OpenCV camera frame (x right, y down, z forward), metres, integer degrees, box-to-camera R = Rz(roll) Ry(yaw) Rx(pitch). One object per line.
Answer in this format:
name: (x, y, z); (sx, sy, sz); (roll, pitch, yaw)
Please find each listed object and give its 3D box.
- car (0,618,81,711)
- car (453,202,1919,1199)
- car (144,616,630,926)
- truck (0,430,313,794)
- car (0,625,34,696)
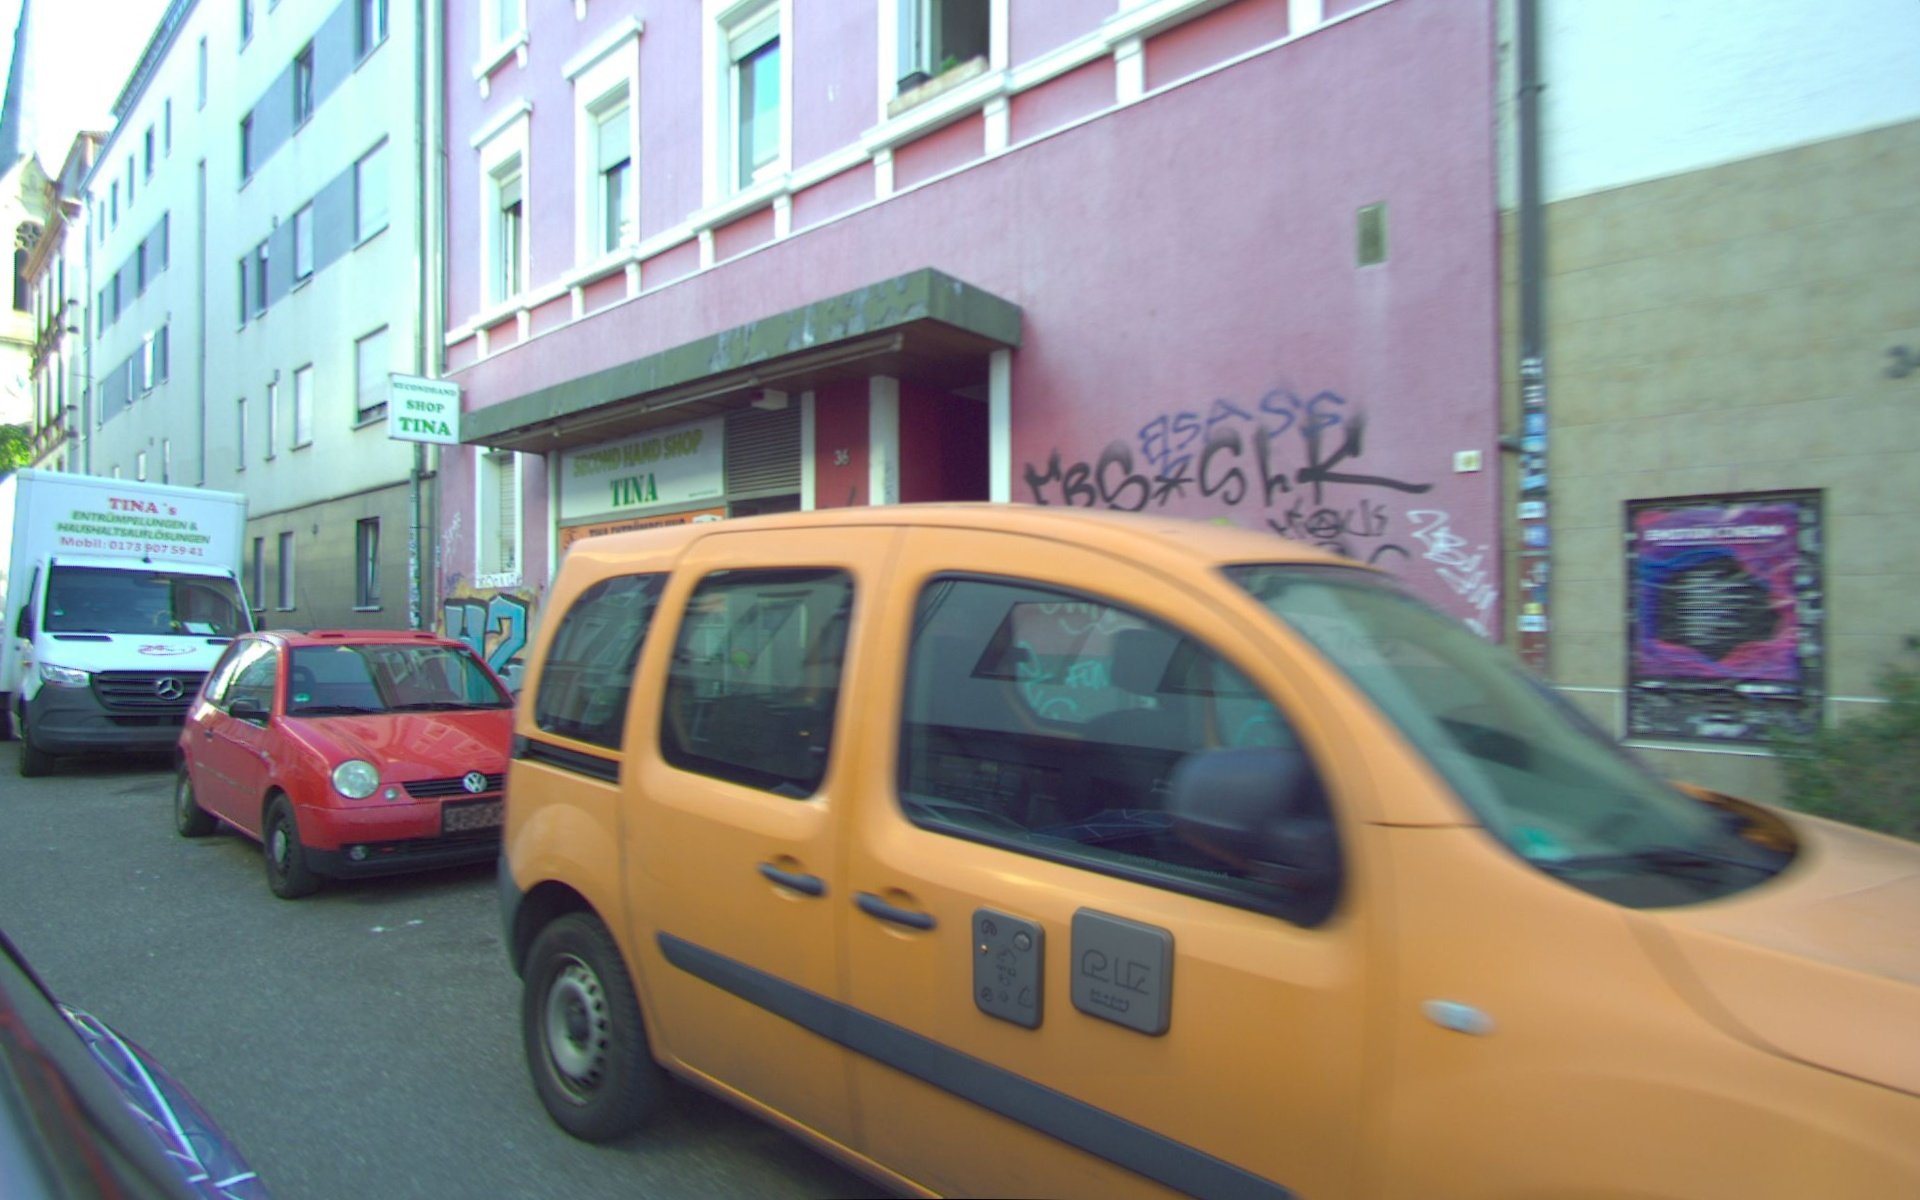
car: (-17.895, 1.140, 18.887); (3.912, 1.600, 1.665); (-1, -4, 41)
car: (0.568, 0.565, 2.519); (4.242, 1.859, 1.783); (-1, -2, 41)
car: (-3.921, 0.860, 6.694); (3.658, 1.477, 1.665); (-1, -2, 41)
truck: (-10.155, 0.164, 12.140); (7.044, 3.207, 2.266); (-1, -2, 43)
car: (-22.243, 1.294, 22.706); (3.912, 1.502, 1.665); (-1, -4, 41)
